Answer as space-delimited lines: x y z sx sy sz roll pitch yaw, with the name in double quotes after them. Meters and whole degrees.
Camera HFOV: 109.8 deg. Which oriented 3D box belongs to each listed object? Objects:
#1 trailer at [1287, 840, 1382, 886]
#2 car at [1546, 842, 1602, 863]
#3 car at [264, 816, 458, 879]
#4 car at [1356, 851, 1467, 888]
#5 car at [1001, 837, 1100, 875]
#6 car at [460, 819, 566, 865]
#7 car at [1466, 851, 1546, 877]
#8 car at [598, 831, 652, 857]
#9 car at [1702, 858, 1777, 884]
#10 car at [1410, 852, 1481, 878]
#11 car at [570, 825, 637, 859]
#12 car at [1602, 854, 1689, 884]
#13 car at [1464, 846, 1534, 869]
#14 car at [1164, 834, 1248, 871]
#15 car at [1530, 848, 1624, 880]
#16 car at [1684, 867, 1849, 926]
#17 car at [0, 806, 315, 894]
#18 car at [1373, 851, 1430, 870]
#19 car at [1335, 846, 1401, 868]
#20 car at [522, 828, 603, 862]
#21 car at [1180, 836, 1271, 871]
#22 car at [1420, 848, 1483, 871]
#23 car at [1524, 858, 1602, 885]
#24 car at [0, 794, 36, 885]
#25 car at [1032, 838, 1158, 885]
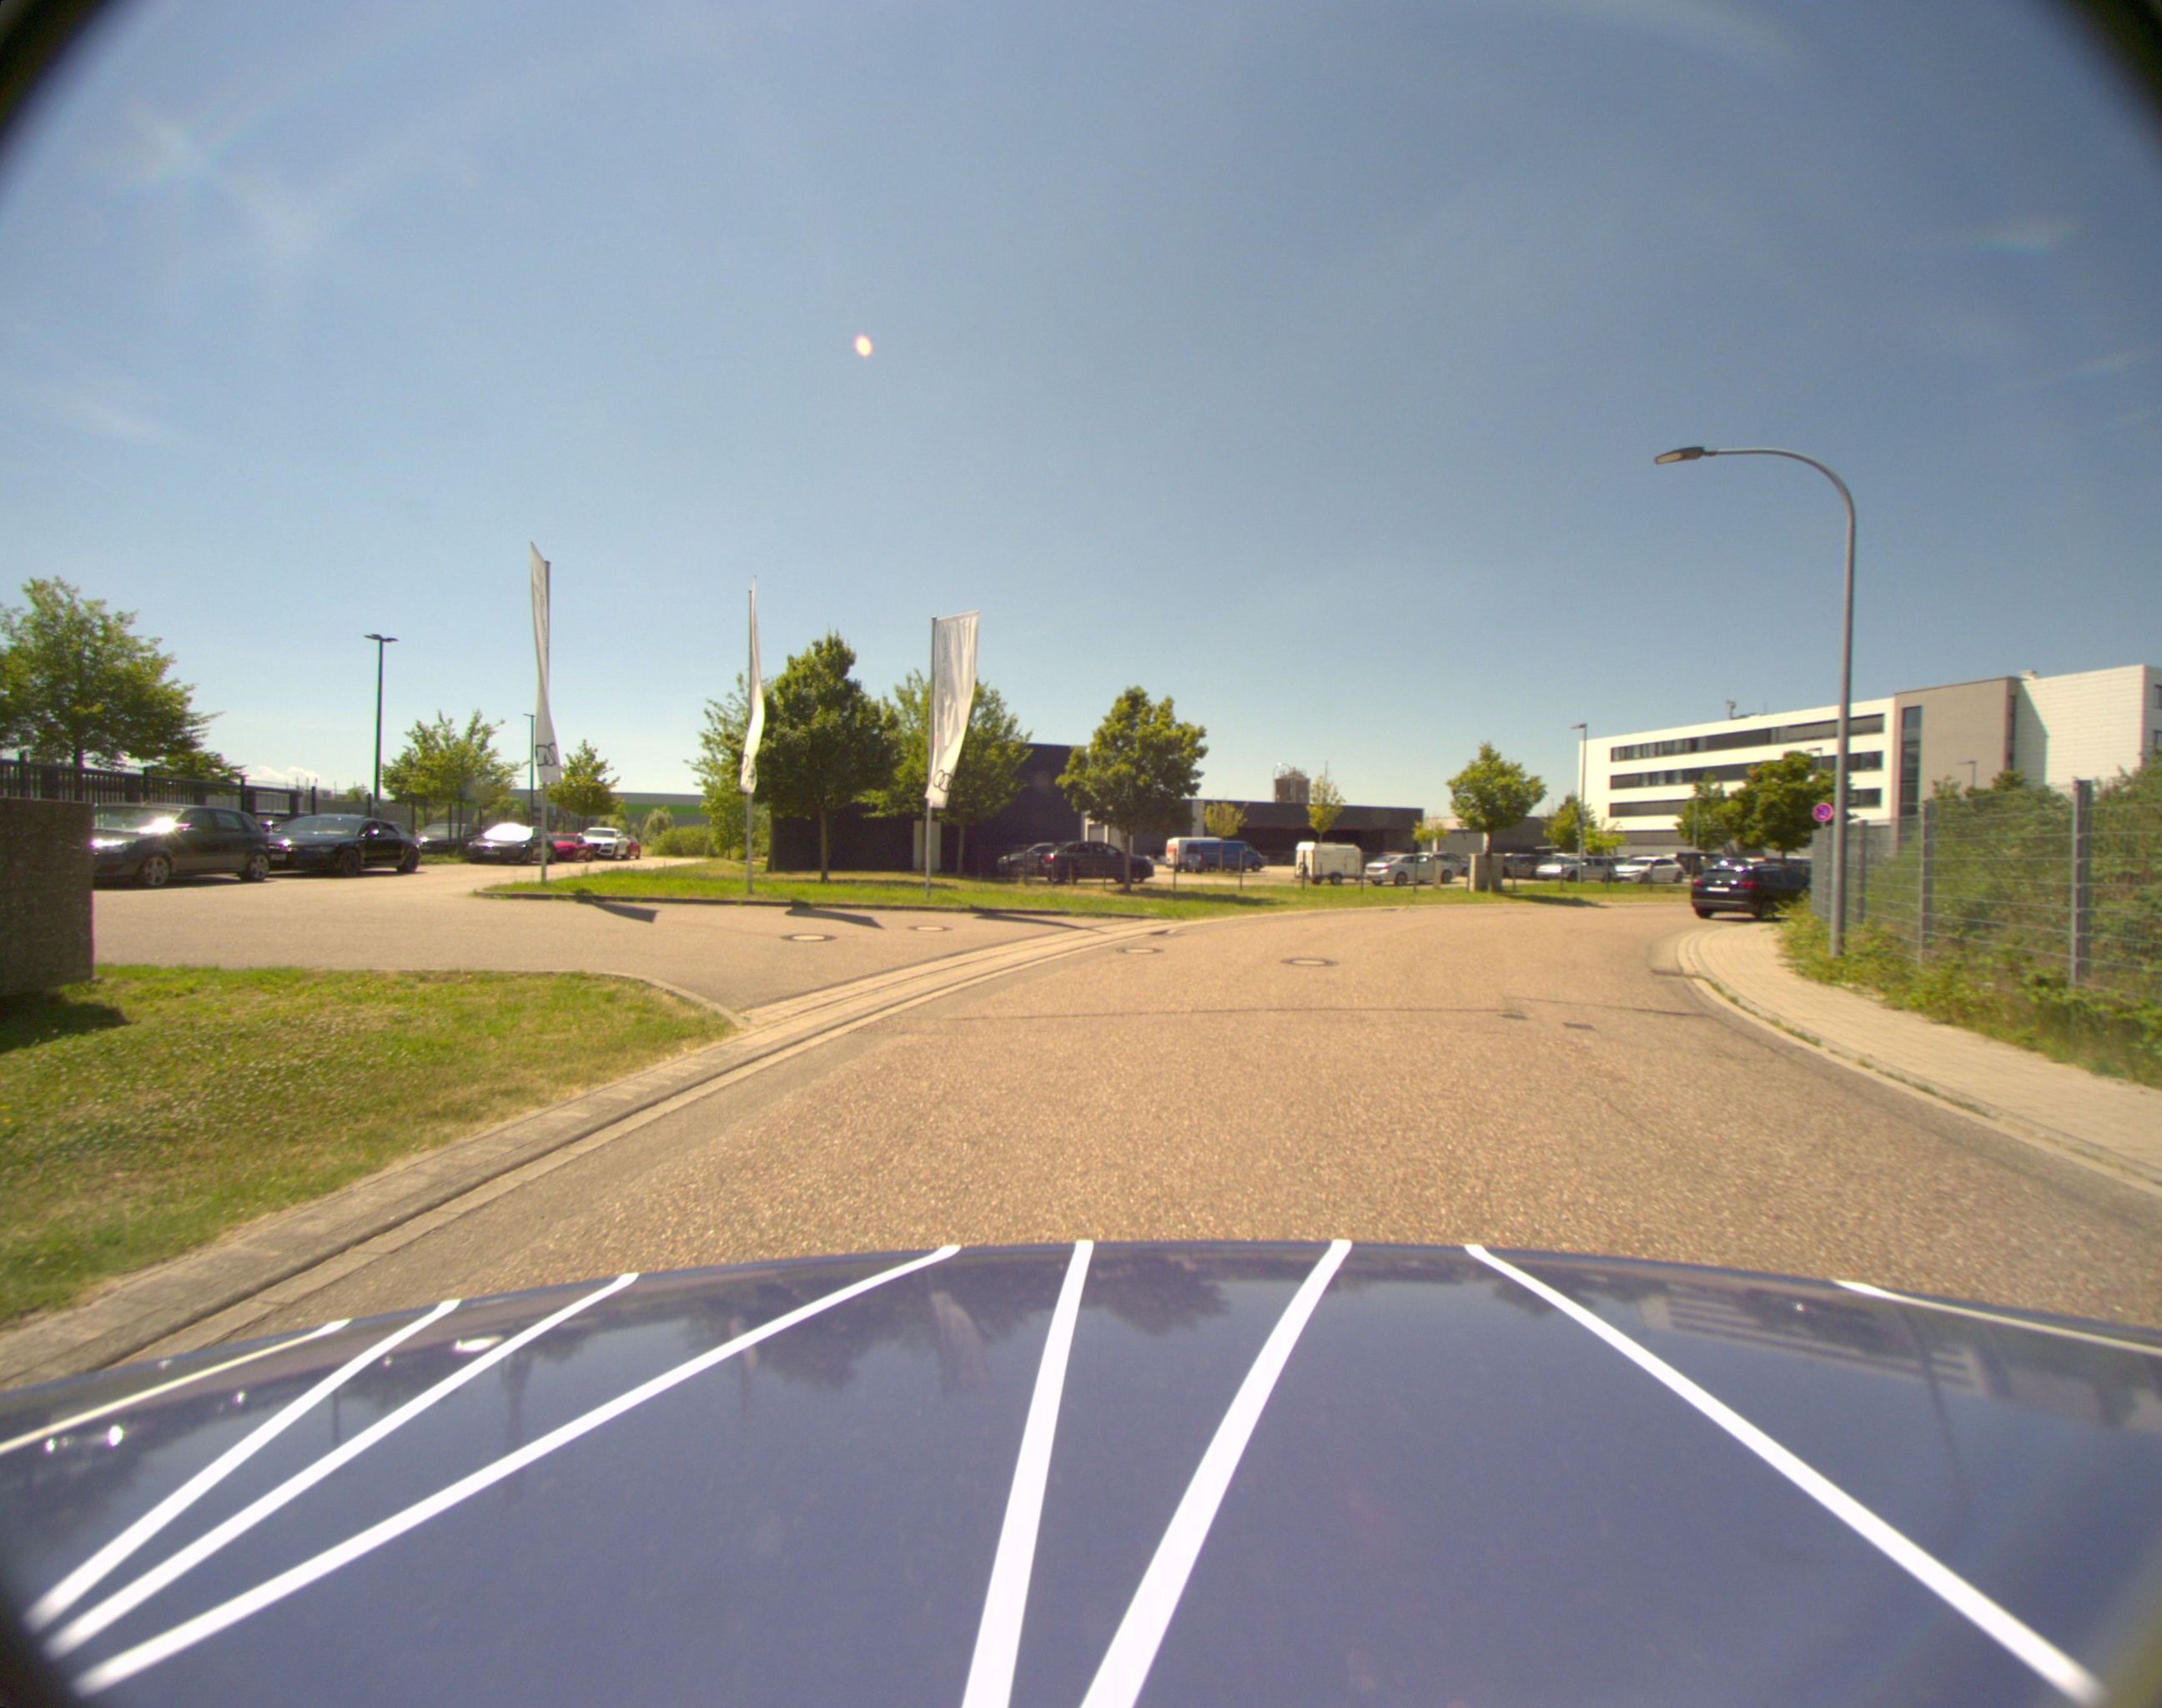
11.713 0.406 35.165 3.742 1.987 1.852 2 0 -18 "trailer"
41.192 -0.083 63.499 3.928 1.527 1.830 3 -2 -16 "car"
-18.400 -0.177 19.737 1.782 1.393 4.565 2 1 -17 "car"
15.874 0.698 36.487 4.859 1.490 1.852 -2 1 -18 "car"
-1.423 0.088 35.046 4.176 1.558 1.777 2 1 -20 "car"
-21.246 -0.449 28.617 1.782 1.558 4.398 2 1 -17 "car"
24.941 0.588 44.606 3.928 1.490 1.852 0 1 -17 "car"
-27.229 -0.592 45.526 1.827 1.433 4.105 2 1 -17 "car"
41.480 1.080 47.885 3.929 1.445 1.830 3 -2 -18 "car"
23.796 0.714 49.660 3.928 1.490 1.852 2 1 -17 "car"
-24.695 -0.639 39.462 1.827 1.637 4.388 2 1 -17 "car"
31.036 0.799 41.814 3.927 1.490 1.852 -2 1 -17 "car"
27.950 0.216 50.819 3.928 1.490 1.852 0 1 -17 "car"
9.109 -0.122 55.348 5.683 2.443 2.192 -2 1 -20 "car"
26.018 0.538 39.873 4.294 1.490 1.852 3 -1 -20 "car"
19.500 1.156 21.633 4.136 1.546 1.656 1 0 -19 "car"
-16.597 -0.086 13.968 1.782 1.341 4.138 2 1 -17 "car"
25.819 0.508 61.287 3.928 1.490 1.852 0 1 -17 "car"
21.404 0.226 56.694 4.256 1.622 1.964 0 1 -17 "car"
-23.177 -0.421 34.134 1.782 1.349 4.165 2 1 -17 "car"
10.050 -0.035 52.847 5.838 2.211 2.141 -2 0 -20 "car"
27.303 0.401 56.024 3.928 1.490 1.852 2 1 -17 "car"
29.423 1.077 46.438 3.928 1.490 1.852 2 1 -17 "car"
-19.662 -0.268 11.670 1.970 1.620 4.617 2 0 -20 "car"
0.510 0.219 28.024 4.287 1.592 1.777 -1 2 -20 "car"
